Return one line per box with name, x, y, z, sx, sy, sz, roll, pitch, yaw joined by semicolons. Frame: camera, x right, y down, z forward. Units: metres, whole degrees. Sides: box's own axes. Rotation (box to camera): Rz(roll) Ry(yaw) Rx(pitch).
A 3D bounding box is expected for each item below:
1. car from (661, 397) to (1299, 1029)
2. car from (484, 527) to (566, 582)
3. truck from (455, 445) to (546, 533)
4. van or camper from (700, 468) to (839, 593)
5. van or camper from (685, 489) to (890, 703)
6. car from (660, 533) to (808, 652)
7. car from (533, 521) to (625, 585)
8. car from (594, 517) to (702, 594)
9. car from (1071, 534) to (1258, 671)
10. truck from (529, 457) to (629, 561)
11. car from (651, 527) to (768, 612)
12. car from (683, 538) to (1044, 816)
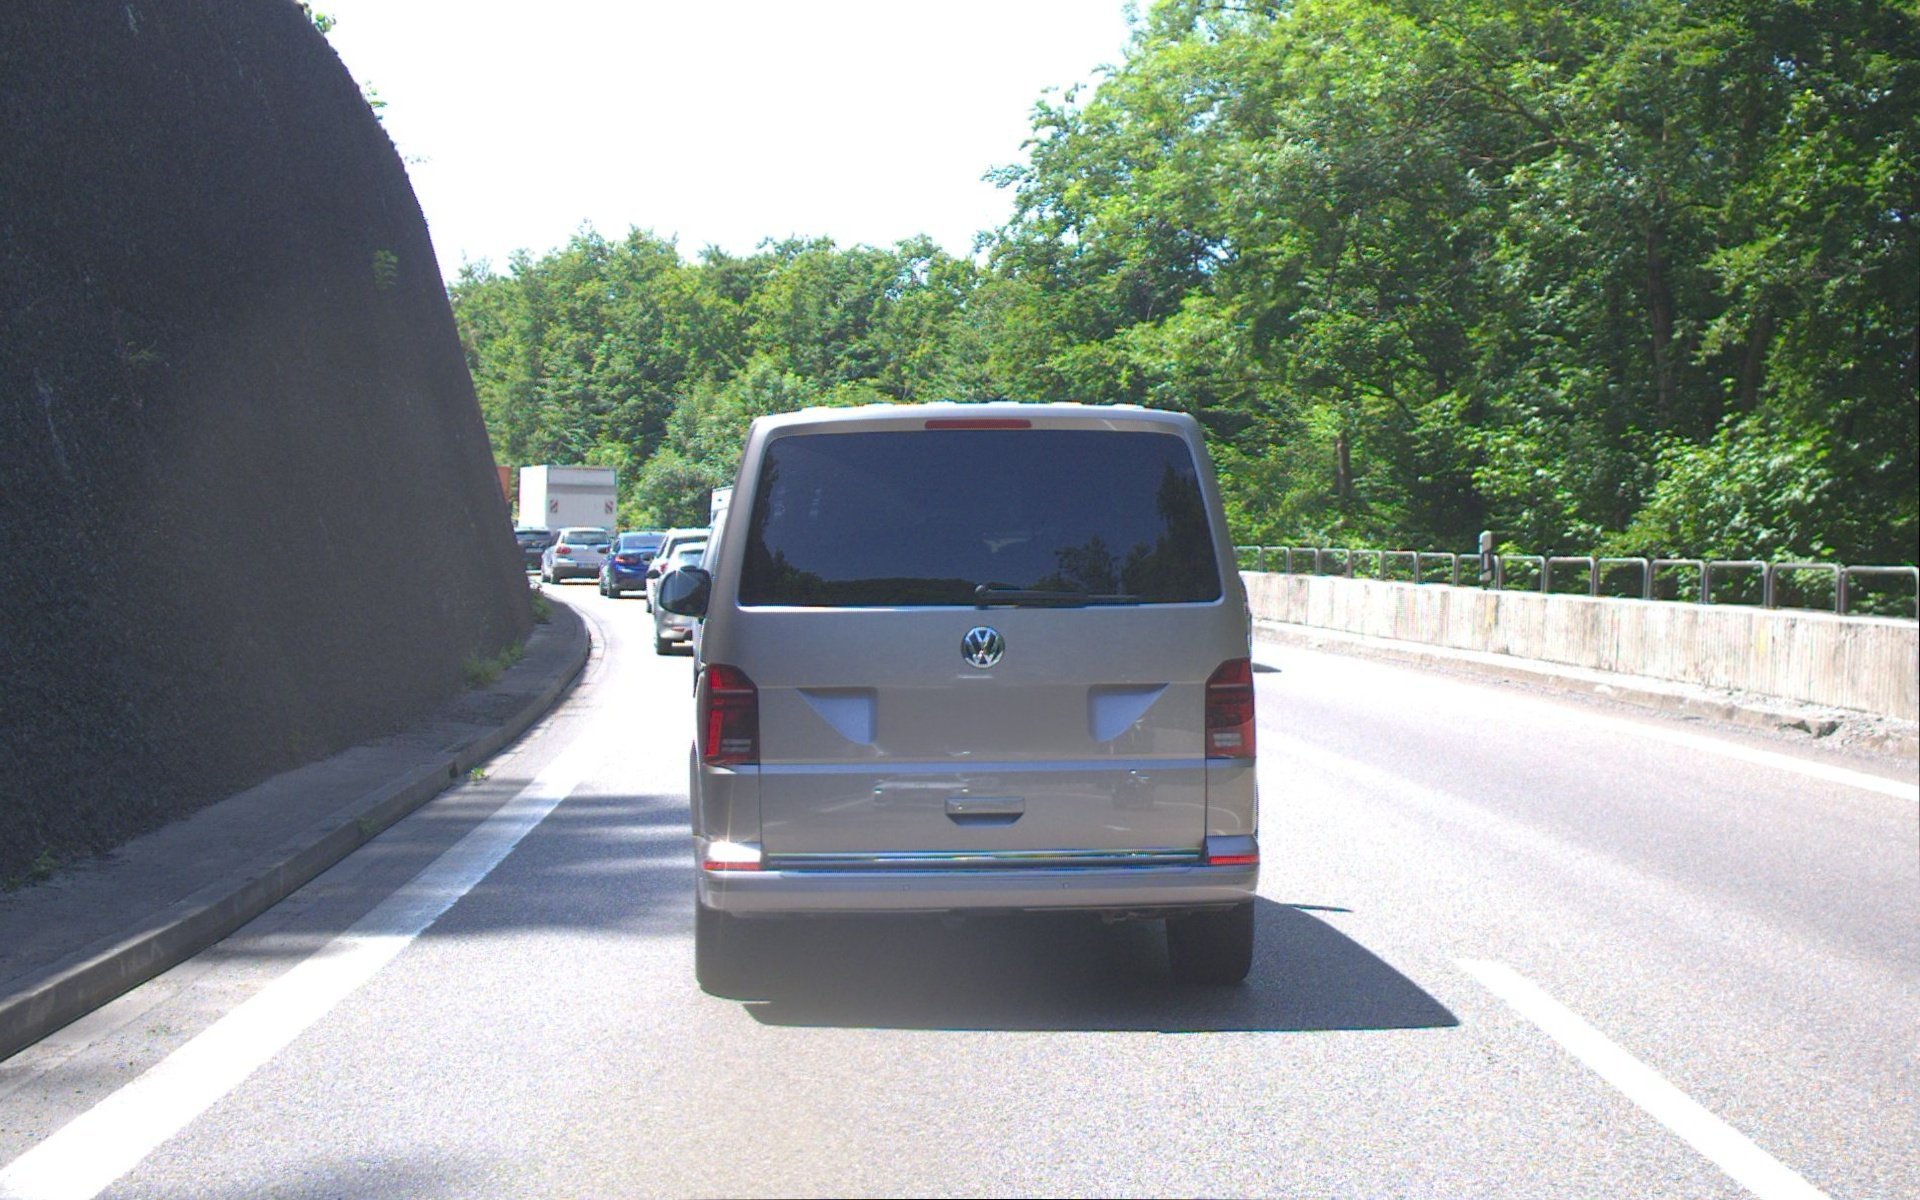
car;-0.002;0.303;12.925;1.940;1.924;4.695;1;1;-2
car;-12.872;-1.364;101.554;1.750;1.565;3.772;1;1;-17
truck;-20.026;-4.817;149.398;3.162;3.456;8.225;5;1;-11
van or camper;-4.880;-1.798;87.160;2.603;2.845;6.338;4;1;-10
van or camper;-1.707;-0.078;33.325;1.853;1.935;4.166;0;1;-4
car;-2.986;-0.129;44.786;1.771;1.467;4.001;0;1;-6
car;-10.017;-1.250;90.173;1.993;1.612;4.001;1;1;-12
car;-6.846;-0.992;75.150;1.857;1.614;4.001;1;1;-12
car;2.314;-0.009;39.803;1.685;1.453;4.001;2;1;-3
truck;-13.934;-3.292;125.255;2.924;3.674;7.727;0;1;-11
car;-4.524;-0.571;61.671;1.862;1.481;4.001;0;1;-7
car;-0.705;0.393;21.195;1.904;1.484;4.380;2;1;-5
